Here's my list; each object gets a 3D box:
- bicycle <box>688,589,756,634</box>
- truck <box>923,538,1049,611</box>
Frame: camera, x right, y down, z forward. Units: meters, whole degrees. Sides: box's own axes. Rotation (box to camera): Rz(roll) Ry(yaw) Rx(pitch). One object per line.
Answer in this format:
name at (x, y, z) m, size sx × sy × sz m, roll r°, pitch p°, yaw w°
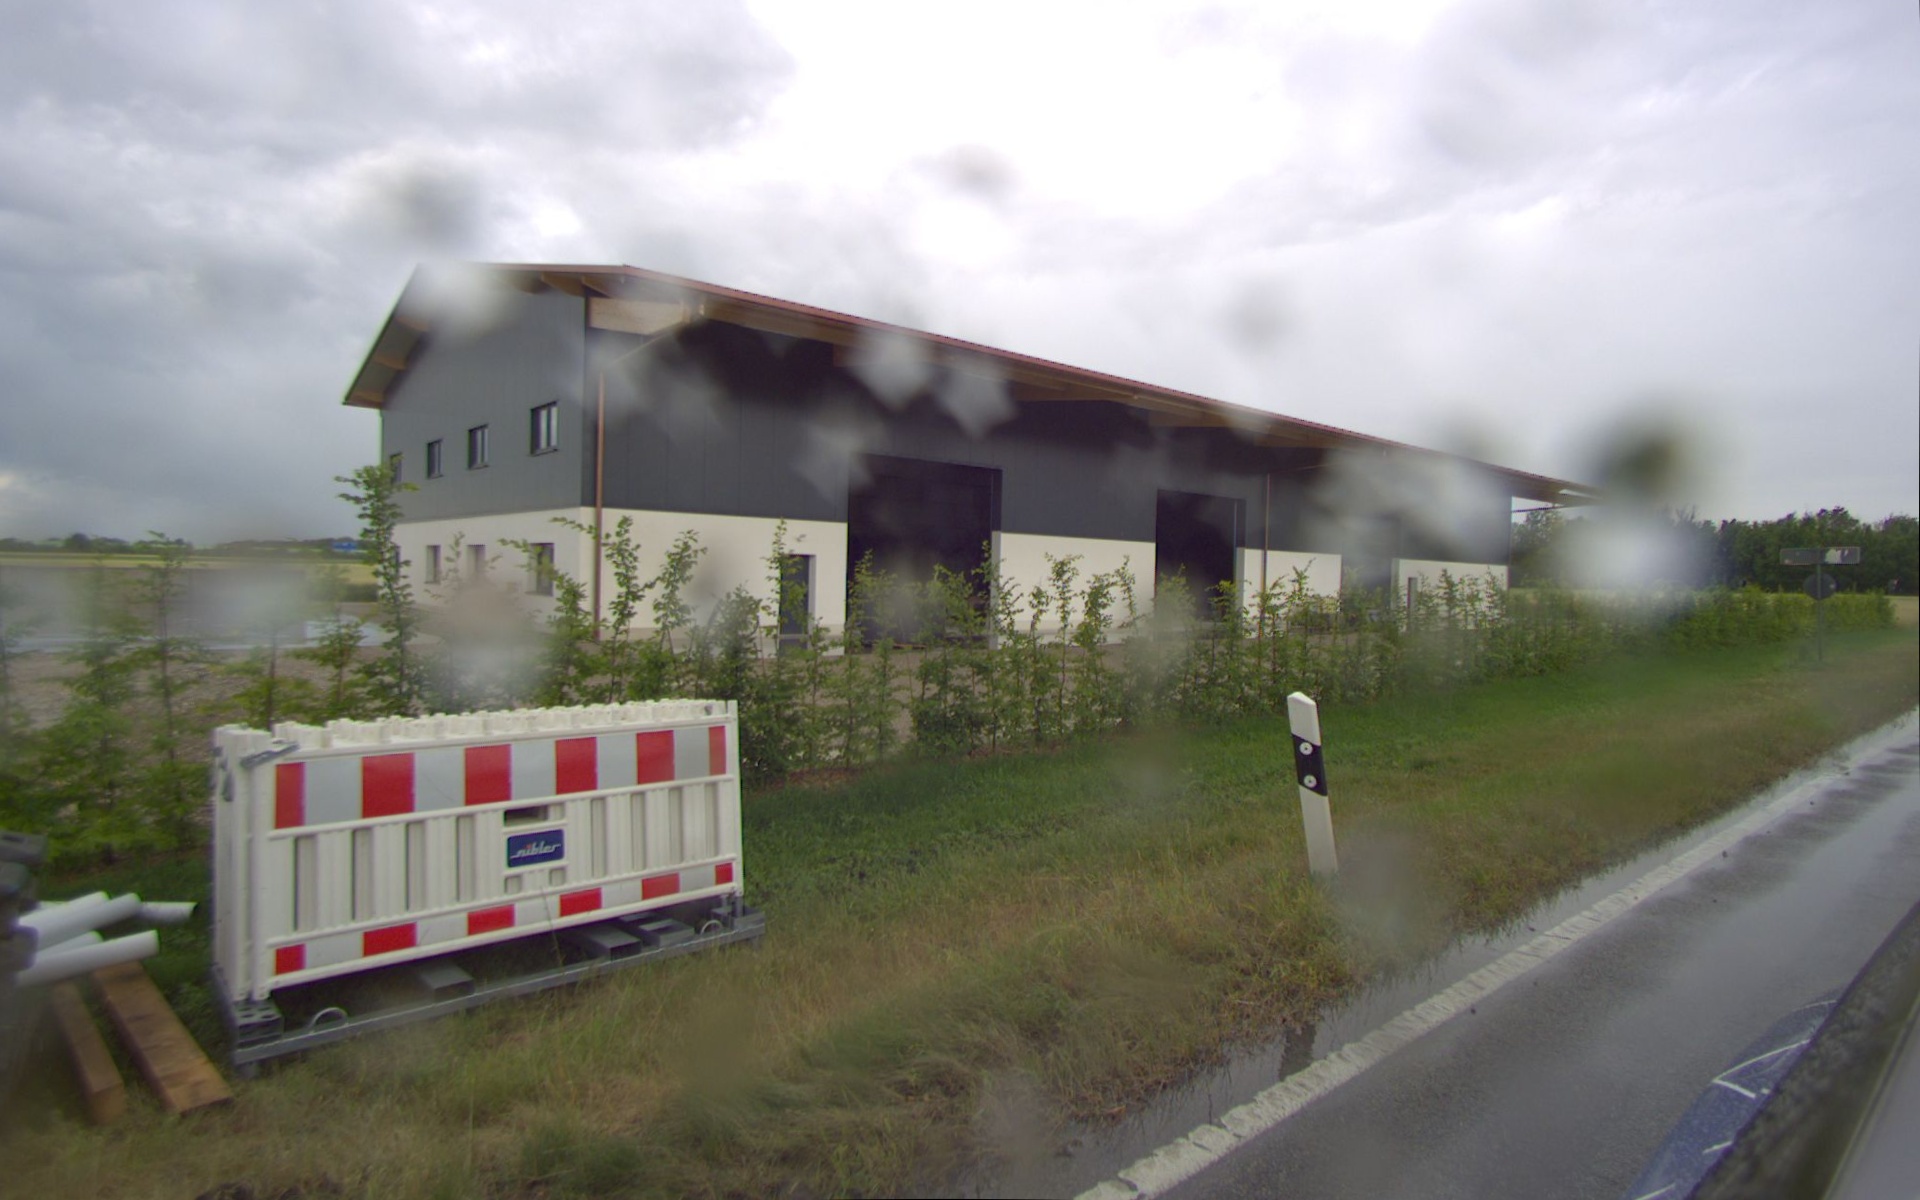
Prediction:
bicycle at (-5.892, 0.270, 25.099) m, size 1.631 × 1.085 × 0.391 m, roll 0°, pitch 2°, yaw -41°
truck at (1.184, -1.116, 44.872) m, size 5.250 × 3.050 × 2.495 m, roll 0°, pitch 2°, yaw -41°
